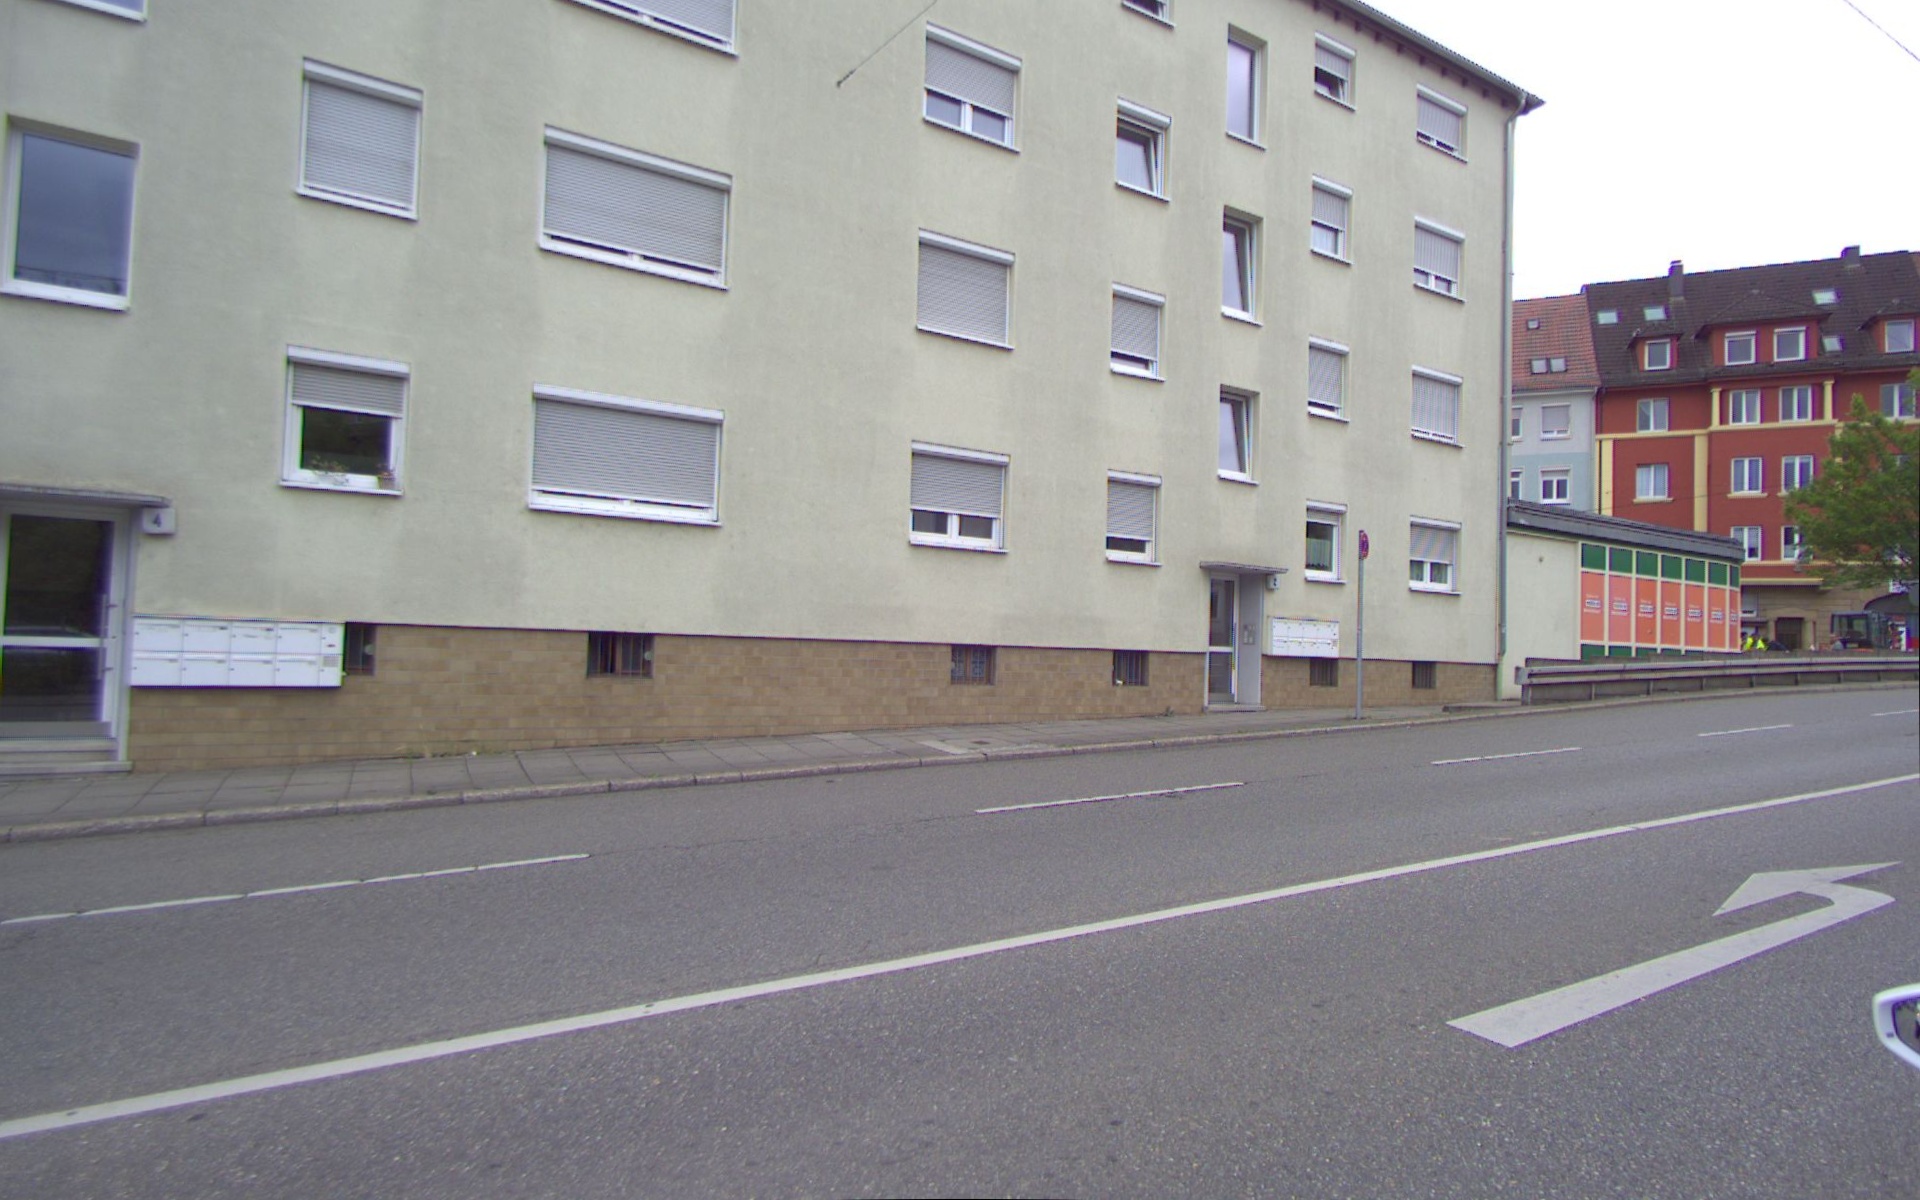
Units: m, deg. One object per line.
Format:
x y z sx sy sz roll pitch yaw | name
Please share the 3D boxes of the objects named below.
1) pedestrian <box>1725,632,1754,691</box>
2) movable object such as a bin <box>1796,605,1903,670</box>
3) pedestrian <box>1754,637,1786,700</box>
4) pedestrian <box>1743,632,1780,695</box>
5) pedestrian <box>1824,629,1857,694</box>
23.676 1.861 30.514 0.467 1.753 0.543 2 1 17 | pedestrian
26.666 1.085 30.087 3.969 1.794 1.885 1 0 -41 | movable object such as a bin
22.790 1.926 28.245 0.538 1.722 0.558 1 1 -39 | pedestrian
23.510 1.848 29.474 0.605 1.785 0.573 2 1 8 | pedestrian
24.478 1.701 27.936 0.533 1.753 0.592 2 1 28 | pedestrian
